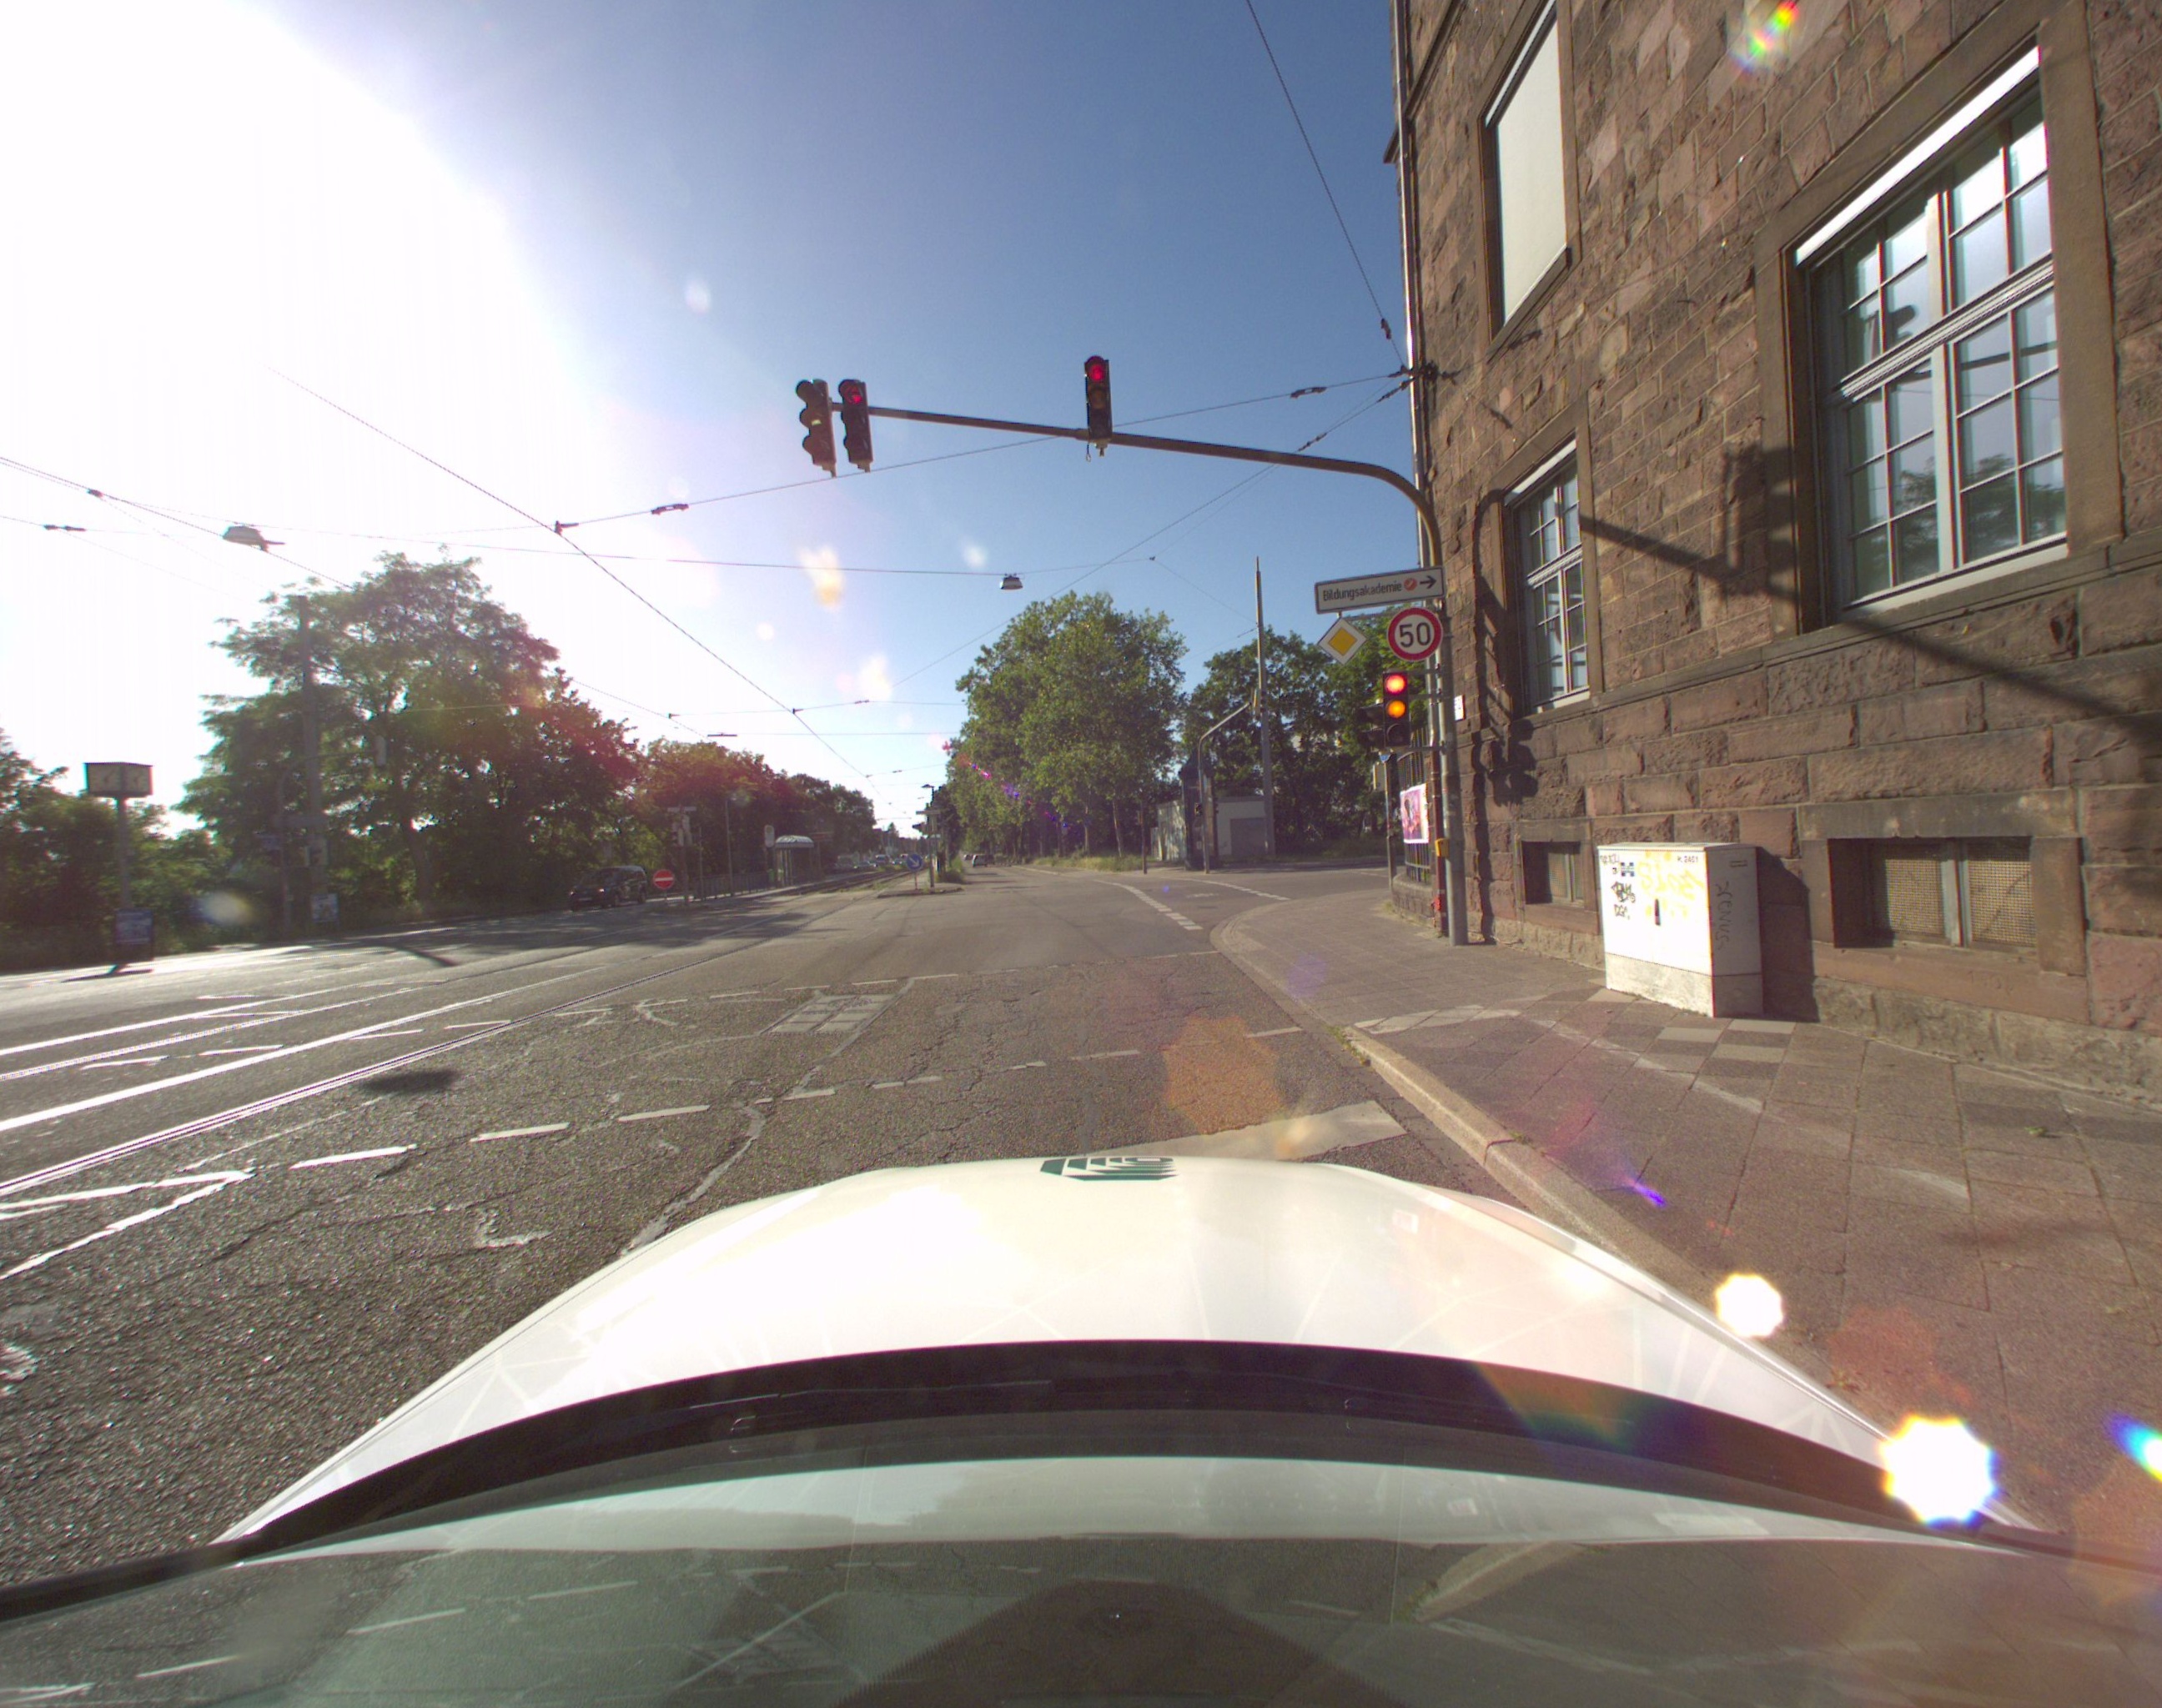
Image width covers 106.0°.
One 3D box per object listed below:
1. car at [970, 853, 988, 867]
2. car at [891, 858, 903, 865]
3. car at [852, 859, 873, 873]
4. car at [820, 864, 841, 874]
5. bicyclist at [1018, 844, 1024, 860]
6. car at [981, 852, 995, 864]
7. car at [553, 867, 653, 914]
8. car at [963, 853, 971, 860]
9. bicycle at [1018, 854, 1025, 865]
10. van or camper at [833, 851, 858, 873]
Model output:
[{"bbox_3d":[-11.402,0.640,91.015,1.867,1.486,3.545,-3,0,-8],"label":"car"},{"bbox_3d":[-37.499,1.521,165.879,1.994,1.469,4.361,-3,0,-10],"label":"car"},{"bbox_3d":[-28.240,1.562,105.305,1.919,1.567,3.990,-4,0,-7],"label":"car"},{"bbox_3d":[-34.332,2.055,111.740,1.919,1.266,3.990,-4,0,-7],"label":"car"},{"bbox_3d":[-6.550,-0.231,88.851,0.534,1.769,0.710,-4,0,-11],"label":"bicyclist"},{"bbox_3d":[-12.979,0.502,113.031,1.750,1.604,3.739,-3,0,-8],"label":"car"},{"bbox_3d":[-20.707,1.513,35.543,1.994,1.767,5.014,-4,0,-9],"label":"car"},{"bbox_3d":[-28.959,0.542,206.345,1.750,1.604,3.569,-4,1,-9],"label":"car"},{"bbox_3d":[-6.491,0.593,88.781,0.536,1.066,1.428,-4,0,-10],"label":"bicycle"},{"bbox_3d":[-35.850,1.248,124.231,2.589,3.106,6.768,-4,0,-9],"label":"van or camper"}]
